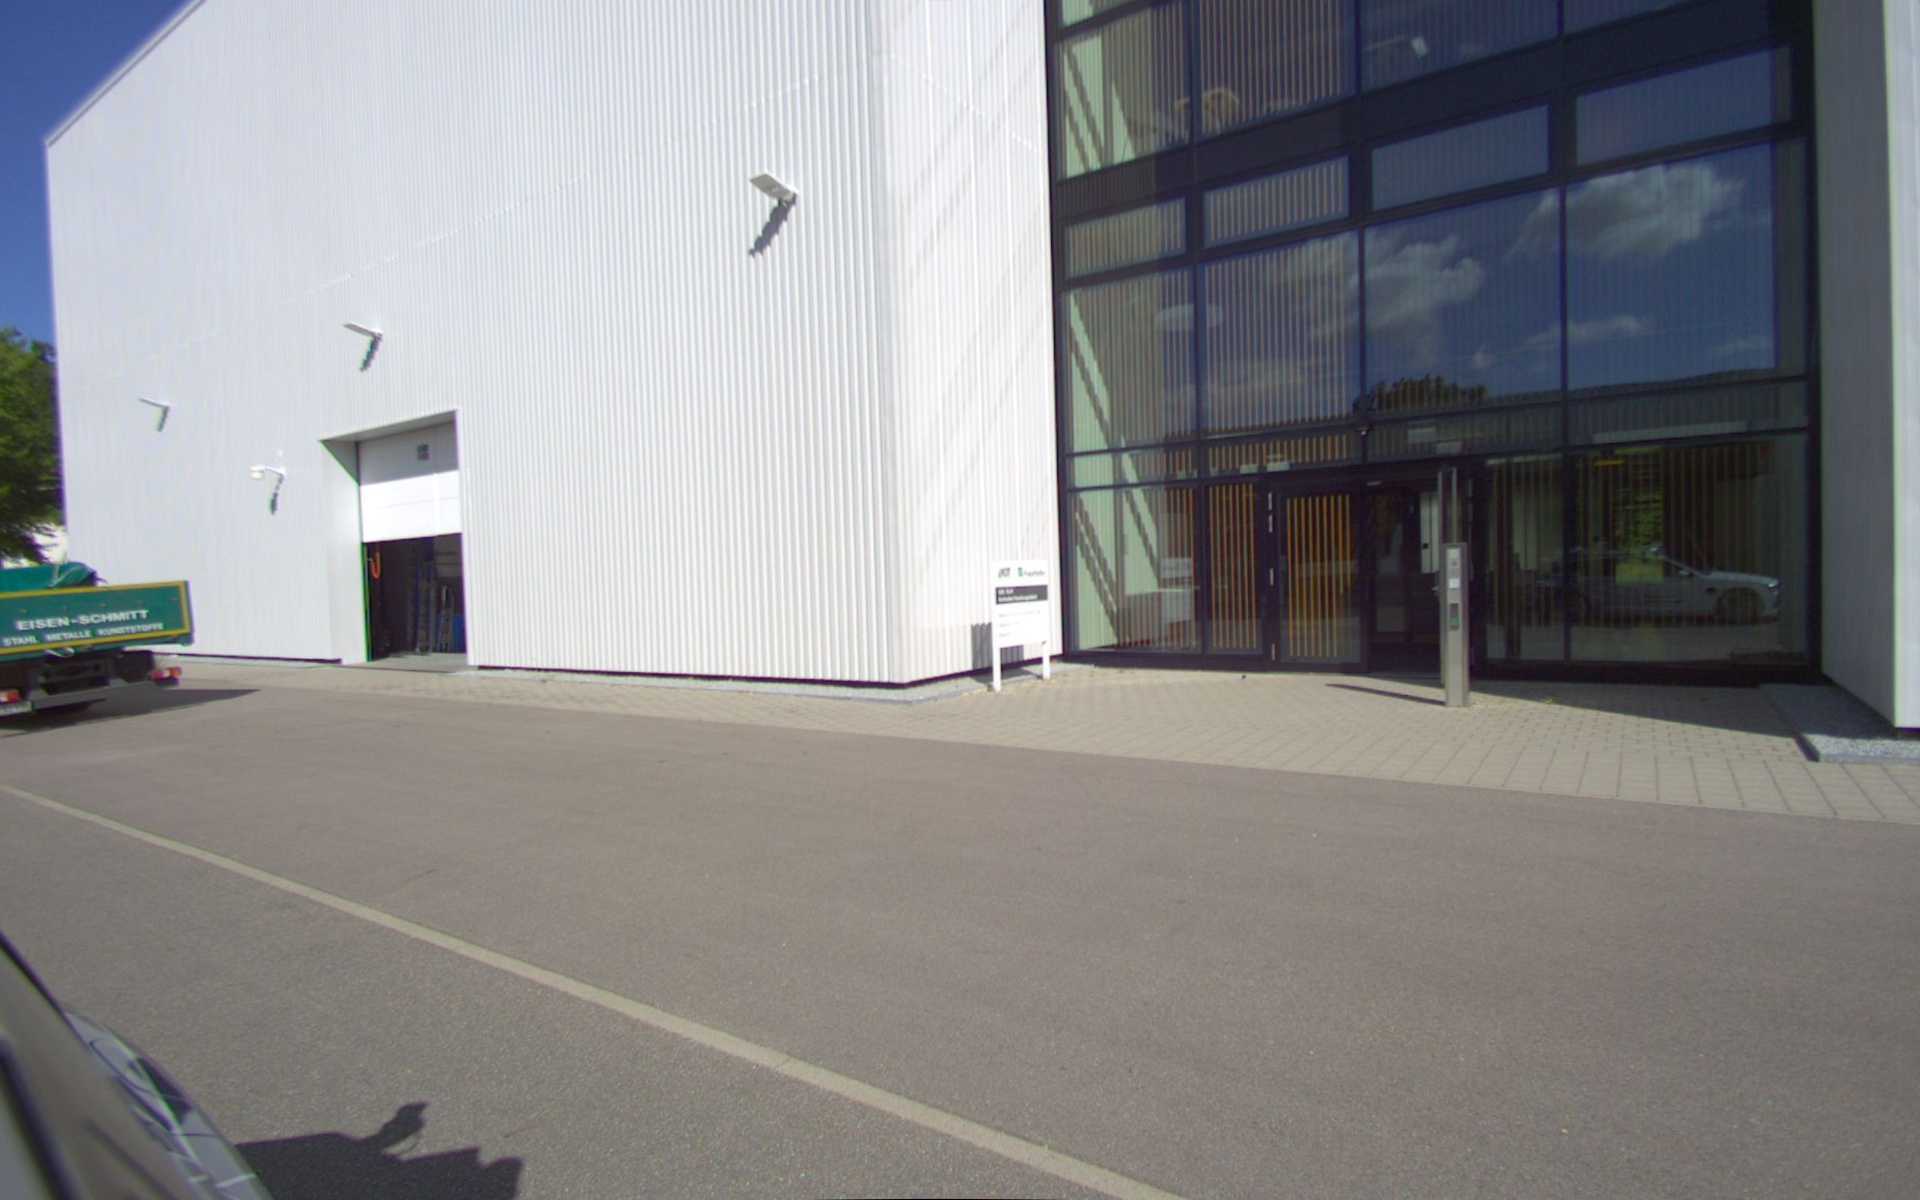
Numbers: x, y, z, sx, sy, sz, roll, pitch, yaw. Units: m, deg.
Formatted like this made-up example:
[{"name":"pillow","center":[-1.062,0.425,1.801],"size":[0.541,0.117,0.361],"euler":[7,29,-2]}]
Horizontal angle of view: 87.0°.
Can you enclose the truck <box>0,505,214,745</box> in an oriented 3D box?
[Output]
[{"name":"truck","center":[-15.096,0.369,14.309],"size":[9.630,2.736,2.571],"euler":[-2,3,23]}]
